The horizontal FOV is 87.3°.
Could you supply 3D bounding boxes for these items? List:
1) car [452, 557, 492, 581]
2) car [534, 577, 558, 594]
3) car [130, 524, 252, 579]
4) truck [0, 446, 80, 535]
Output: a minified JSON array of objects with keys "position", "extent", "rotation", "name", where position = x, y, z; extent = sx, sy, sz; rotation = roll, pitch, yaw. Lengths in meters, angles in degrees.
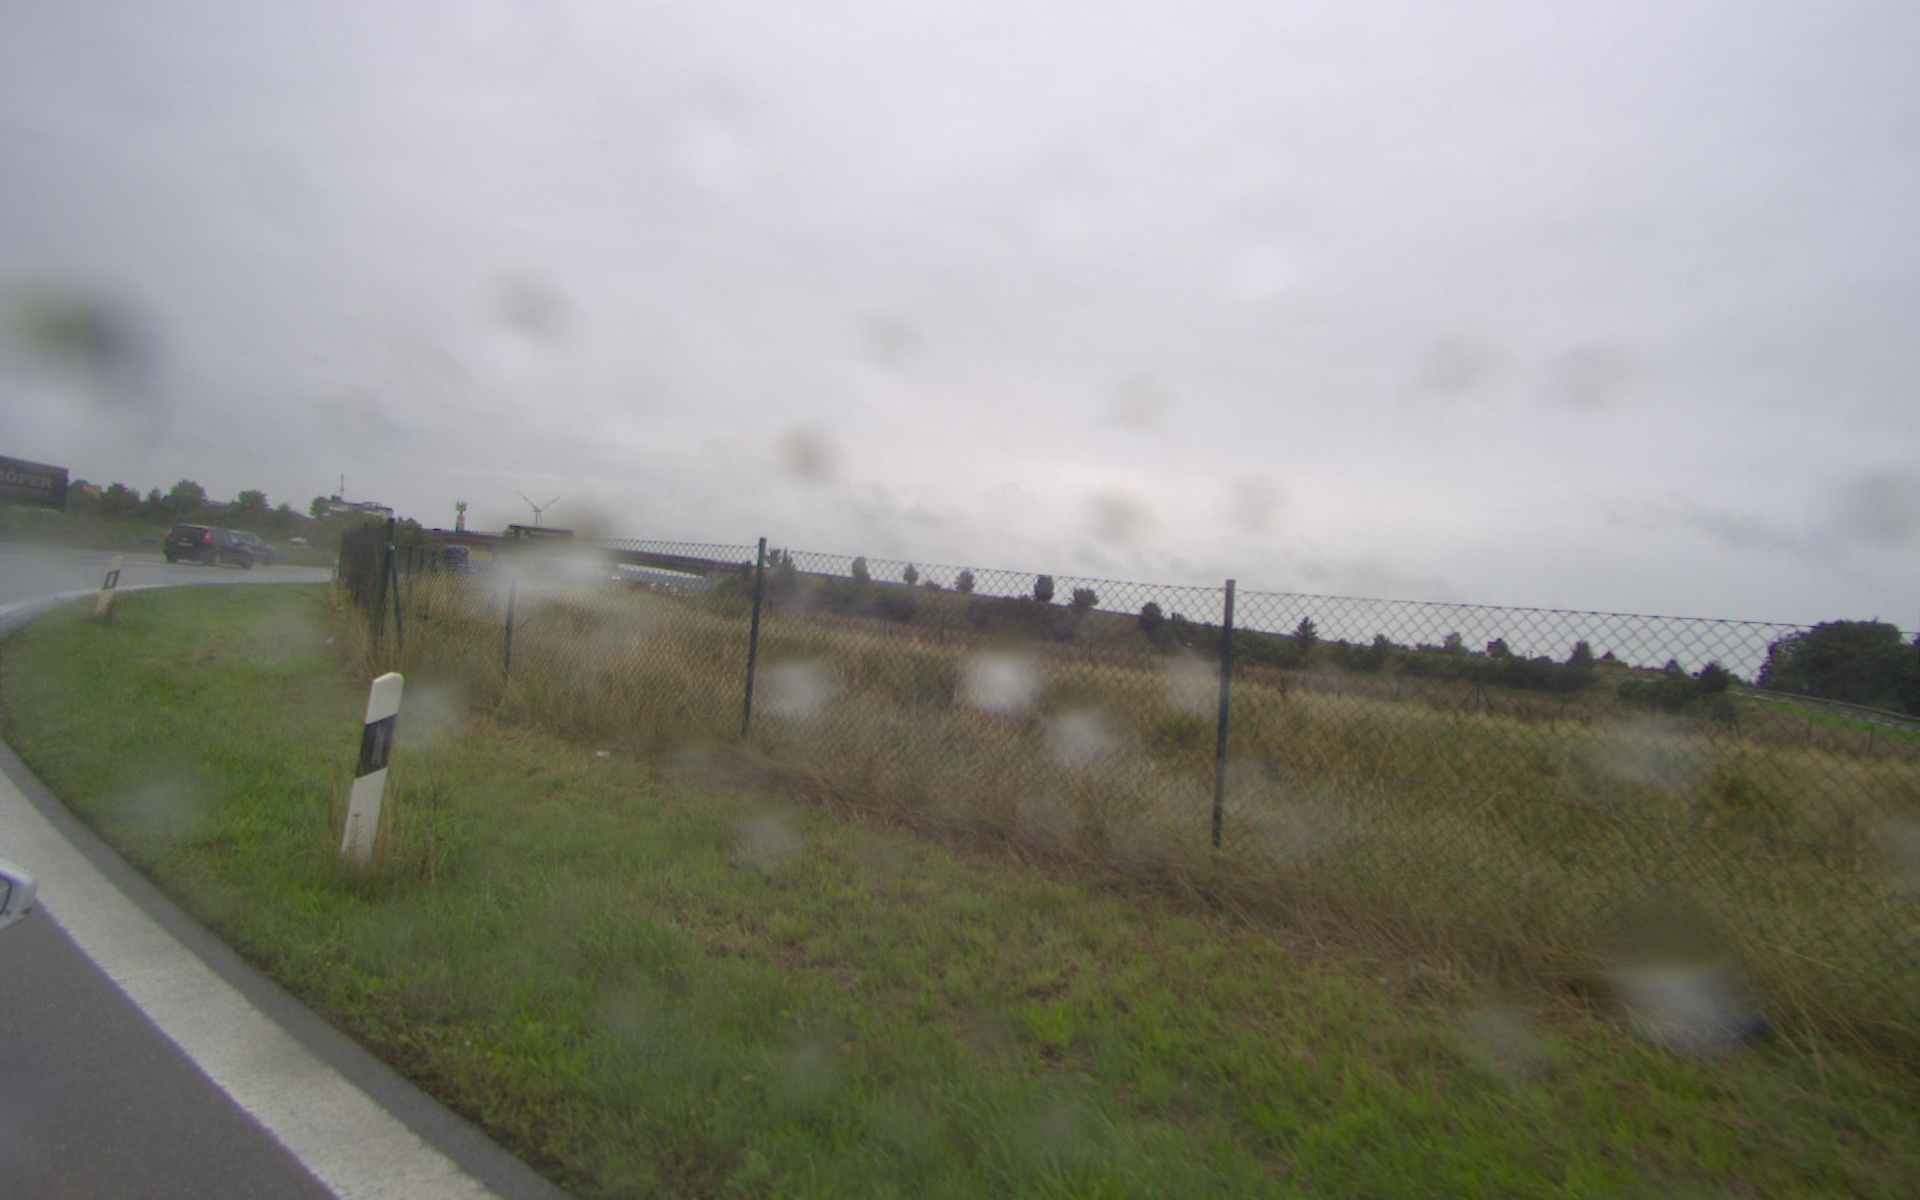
[{"position":[-41.860,-2.596,86.335],"extent":[2.027,1.655,4.340],"rotation":[7,-2,-13],"name":"car"},{"position":[-50.033,-1.760,121.739],"extent":[1.967,1.720,3.988],"rotation":[4,1,-13],"name":"car"},{"position":[-31.475,-1.927,41.395],"extent":[2.118,1.655,4.587],"rotation":[8,-2,-13],"name":"car"},{"position":[-48.862,-5.824,48.410],"extent":[3.155,4.011,13.784],"rotation":[9,-2,-13],"name":"truck"}]
